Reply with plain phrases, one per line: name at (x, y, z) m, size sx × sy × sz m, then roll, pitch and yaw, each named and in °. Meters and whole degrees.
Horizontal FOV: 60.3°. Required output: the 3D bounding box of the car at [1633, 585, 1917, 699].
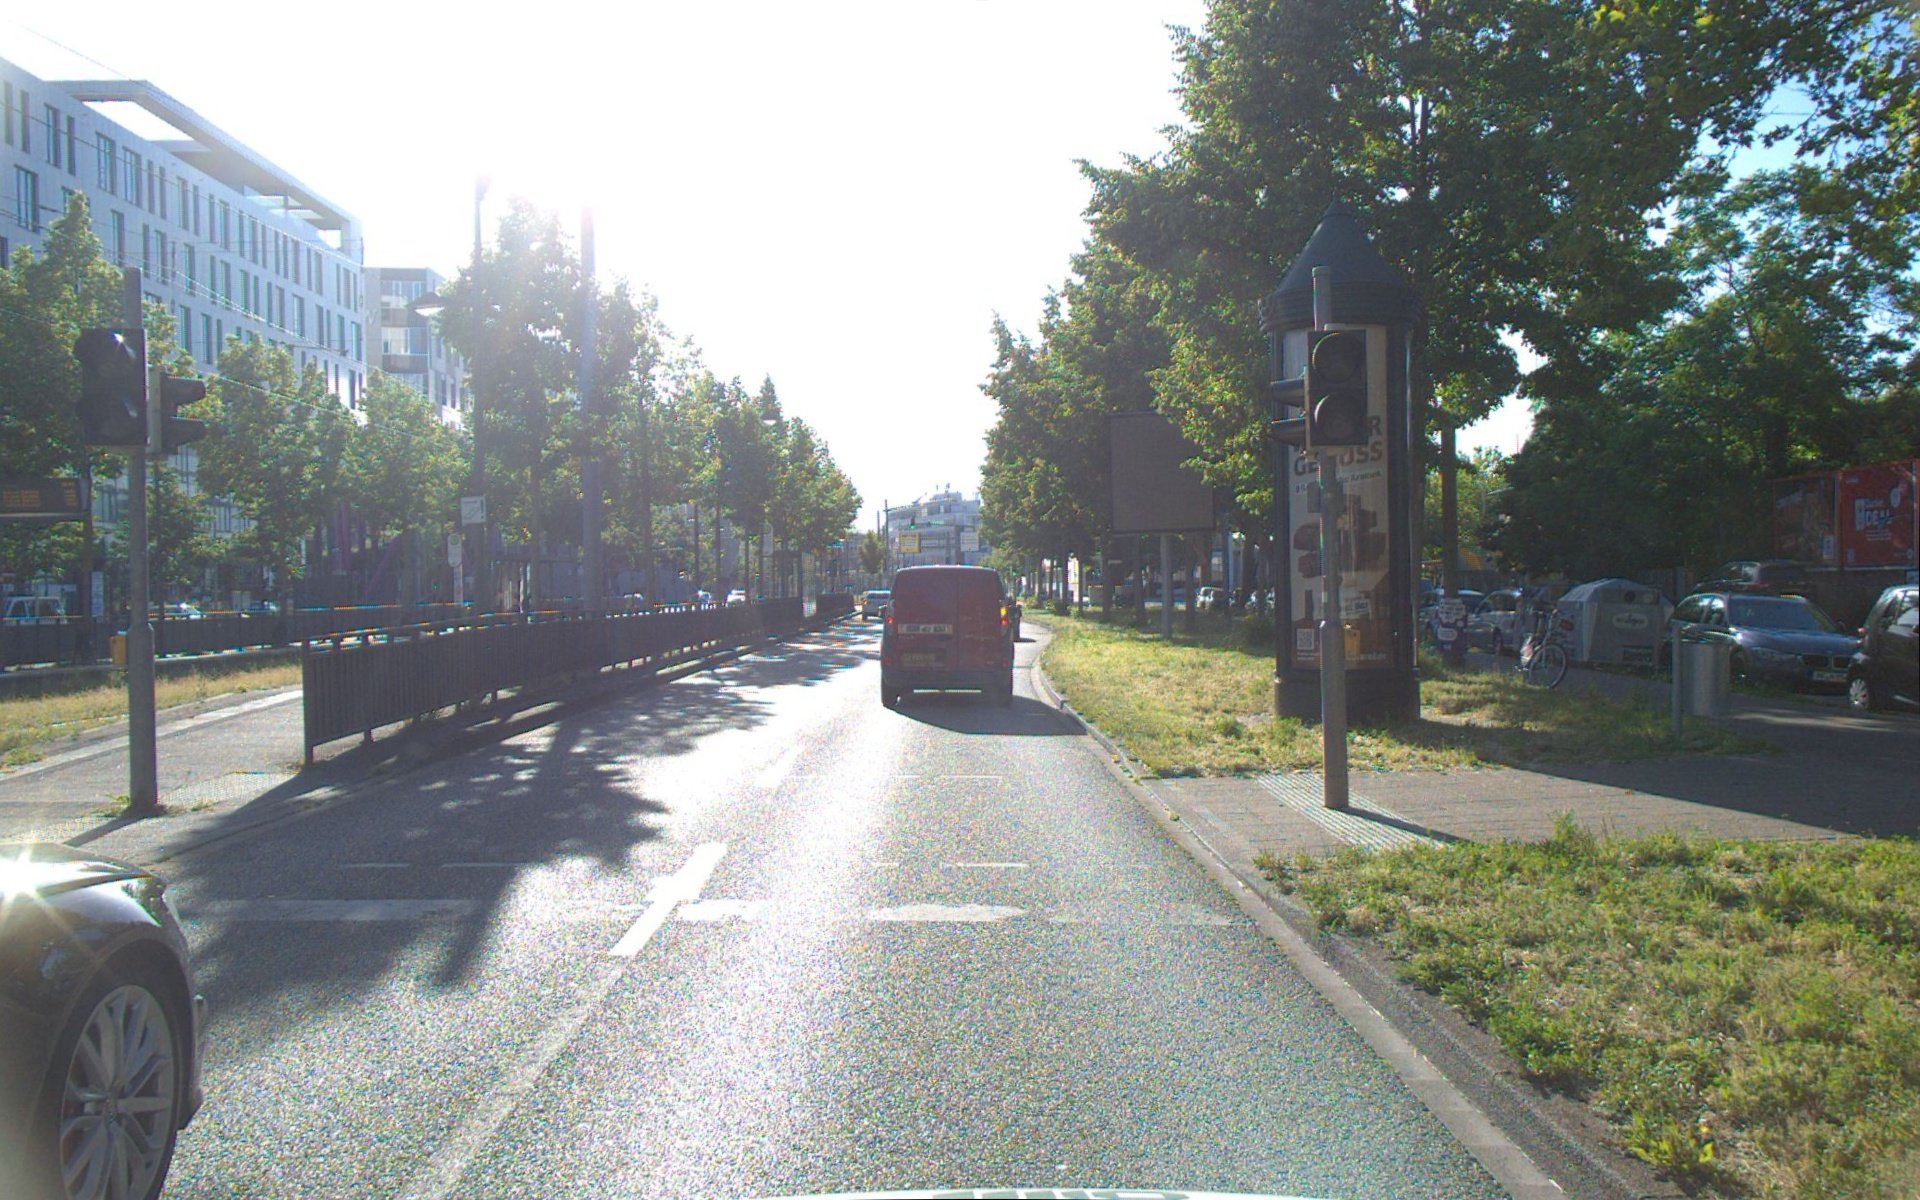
car at (11.172, 0.532, 23.106) m, size 1.957 × 1.408 × 4.747 m, roll 1°, pitch 0°, yaw 5°

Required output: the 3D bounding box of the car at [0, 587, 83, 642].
car at (-31.472, 0.459, 55.061) m, size 1.952 × 1.744 × 4.852 m, roll 1°, pitch 0°, yaw 0°

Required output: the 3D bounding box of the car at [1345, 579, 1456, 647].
car at (12.644, 0.352, 47.814) m, size 1.833 × 1.852 × 4.892 m, roll 1°, pitch 0°, yaw -1°

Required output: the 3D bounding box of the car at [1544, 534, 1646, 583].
car at (22.492, -1.452, 58.772) m, size 1.833 × 1.509 × 4.691 m, roll -3°, pitch 0°, yaw 1°

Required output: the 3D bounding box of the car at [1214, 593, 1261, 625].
car at (15.215, 0.500, 90.872) m, size 1.833 × 1.713 × 3.998 m, roll 1°, pitch 0°, yaw -2°

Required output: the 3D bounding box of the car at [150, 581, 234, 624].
car at (-37.927, 0.121, 81.808) m, size 1.952 × 2.049 × 4.563 m, roll 1°, pitch 0°, yaw 0°

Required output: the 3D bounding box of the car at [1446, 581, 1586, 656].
car at (12.375, 0.387, 37.123) m, size 1.831 × 1.551 × 5.059 m, roll 1°, pitch 0°, yaw 5°

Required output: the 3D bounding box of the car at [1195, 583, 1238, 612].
car at (15.460, -0.132, 99.760) m, size 1.833 × 1.713 × 3.998 m, roll 1°, pitch 0°, yaw -2°

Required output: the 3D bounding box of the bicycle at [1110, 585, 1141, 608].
bicycle at (9.721, -0.203, 97.205) m, size 1.742 × 1.290 × 0.479 m, roll 1°, pitch 0°, yaw 0°

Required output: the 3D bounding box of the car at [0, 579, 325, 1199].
car at (-2.682, 0.719, 1.930) m, size 1.913 × 1.506 × 5.085 m, roll 0°, pitch 0°, yaw 0°

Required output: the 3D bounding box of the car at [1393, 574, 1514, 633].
car at (12.522, 0.097, 42.208) m, size 1.833 × 1.413 × 3.999 m, roll 1°, pitch 0°, yaw -1°

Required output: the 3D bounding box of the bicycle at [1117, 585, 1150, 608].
bicycle at (10.105, -0.193, 96.471) m, size 1.878 × 1.290 × 0.479 m, roll 0°, pitch 0°, yaw 0°

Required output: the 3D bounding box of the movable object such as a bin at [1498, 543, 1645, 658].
movable object such as a bin at (11.376, 0.006, 30.908) m, size 2.038 × 2.049 × 2.137 m, roll 1°, pitch 0°, yaw 3°

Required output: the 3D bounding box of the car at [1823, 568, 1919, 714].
car at (10.831, 0.438, 17.764) m, size 1.627 × 1.527 × 2.990 m, roll 1°, pitch 0°, yaw 2°

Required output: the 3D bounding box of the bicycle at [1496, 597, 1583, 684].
bicycle at (7.442, 0.496, 21.306) m, size 0.482 × 1.065 × 1.904 m, roll 1°, pitch 0°, yaw 1°

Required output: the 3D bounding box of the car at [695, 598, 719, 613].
car at (-29.226, 0.629, 191.098) m, size 1.952 × 1.795 × 4.002 m, roll 1°, pitch 0°, yaw 3°

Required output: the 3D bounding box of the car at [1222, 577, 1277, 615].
car at (14.030, -0.193, 80.400) m, size 1.833 × 1.713 × 3.998 m, roll -2°, pitch 0°, yaw -2°

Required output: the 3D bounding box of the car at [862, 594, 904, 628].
car at (-3.829, 0.547, 82.857) m, size 1.953 × 1.646 × 3.999 m, roll 1°, pitch 0°, yaw -1°

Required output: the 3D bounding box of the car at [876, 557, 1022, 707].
car at (-0.231, 0.406, 22.749) m, size 1.773 × 1.870 × 3.997 m, roll 1°, pitch 0°, yaw -4°

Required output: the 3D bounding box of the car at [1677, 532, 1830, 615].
car at (21.309, -0.663, 44.653) m, size 1.833 × 2.037 × 4.691 m, roll -2°, pitch 0°, yaw 1°

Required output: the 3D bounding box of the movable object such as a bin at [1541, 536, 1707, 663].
movable object such as a bin at (11.242, -0.008, 28.143) m, size 2.038 × 2.049 × 2.137 m, roll 1°, pitch 0°, yaw 3°
